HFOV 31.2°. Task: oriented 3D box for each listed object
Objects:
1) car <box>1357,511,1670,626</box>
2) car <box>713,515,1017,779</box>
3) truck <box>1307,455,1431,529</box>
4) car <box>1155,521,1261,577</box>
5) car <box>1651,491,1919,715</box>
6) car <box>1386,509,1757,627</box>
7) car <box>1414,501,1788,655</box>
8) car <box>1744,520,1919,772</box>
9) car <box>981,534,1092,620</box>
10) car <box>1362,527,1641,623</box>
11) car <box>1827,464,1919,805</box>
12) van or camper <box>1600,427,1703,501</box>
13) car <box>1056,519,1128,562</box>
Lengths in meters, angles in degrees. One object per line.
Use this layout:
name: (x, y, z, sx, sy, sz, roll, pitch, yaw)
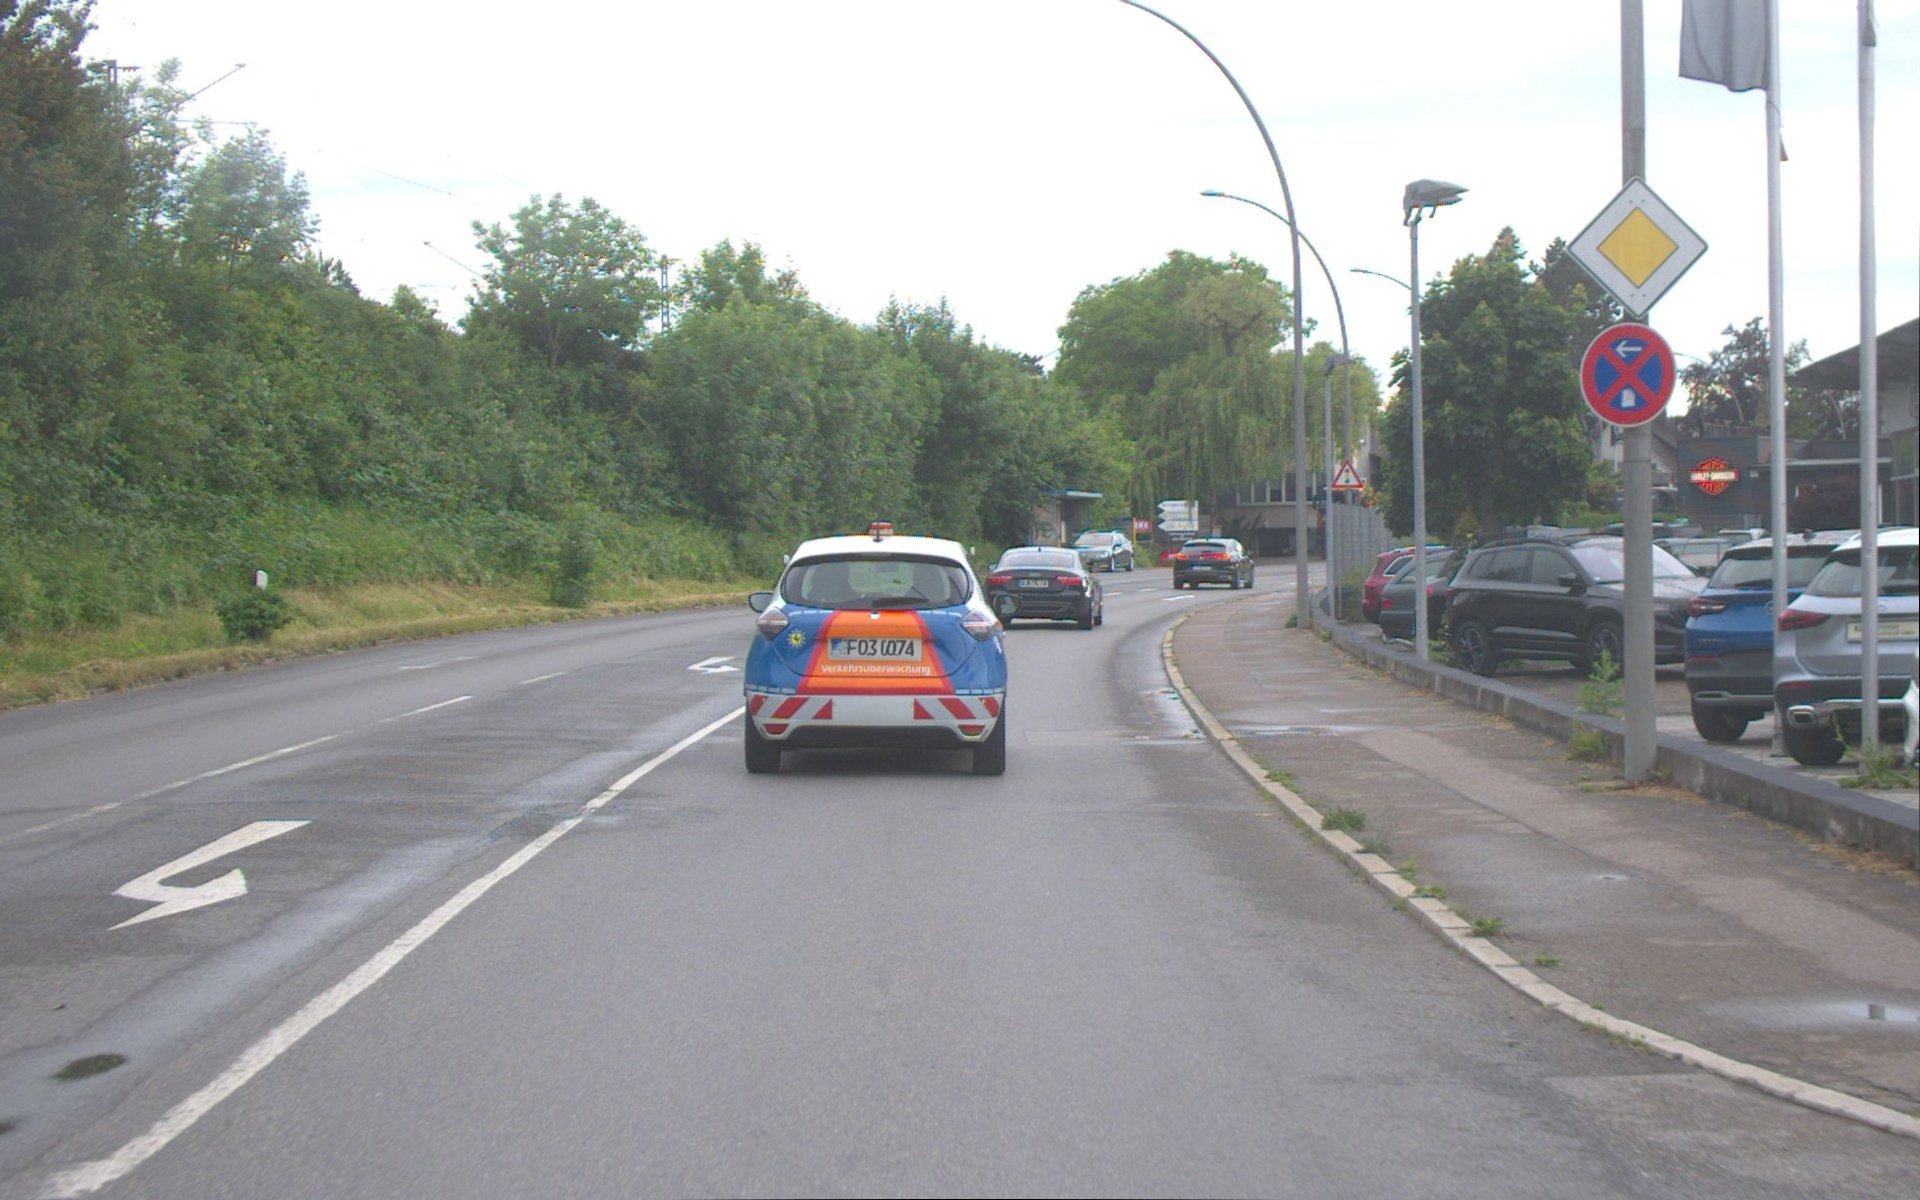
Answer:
car: (7.893, -0.461, 49.211, 3.997, 1.550, 1.894, 2, 1, 41)
car: (-0.660, 0.277, 23.766, 1.888, 1.626, 4.000, 1, 1, -2)
truck: (20.433, -5.322, 171.270, 2.702, 3.400, 9.056, 2, 1, 30)
car: (6.886, -1.422, 95.151, 1.995, 1.415, 3.997, -1, 1, 18)
car: (7.449, -0.033, 27.776, 1.841, 1.626, 4.357, -3, 0, 38)
car: (8.094, -0.425, 45.632, 4.438, 1.474, 1.930, 0, 2, 36)
car: (7.284, -0.286, 39.557, 1.836, 1.602, 4.550, -3, 2, -26)
car: (7.054, 0.236, 23.580, 1.730, 1.594, 3.806, -2, 1, 39)
car: (1.329, -0.403, 58.307, 1.721, 1.371, 3.933, 1, 1, 3)
car: (10.037, -0.472, 63.882, 4.692, 1.657, 1.996, 2, 1, 34)
car: (6.677, 0.103, 17.454, 4.414, 1.646, 1.927, -2, 1, -34)
van or camper: (25.343, -4.979, 125.781, 2.044, 2.584, 6.581, -1, 2, 26)
car: (4.765, -2.128, 123.702, 1.994, 1.469, 4.699, 1, 1, 9)
